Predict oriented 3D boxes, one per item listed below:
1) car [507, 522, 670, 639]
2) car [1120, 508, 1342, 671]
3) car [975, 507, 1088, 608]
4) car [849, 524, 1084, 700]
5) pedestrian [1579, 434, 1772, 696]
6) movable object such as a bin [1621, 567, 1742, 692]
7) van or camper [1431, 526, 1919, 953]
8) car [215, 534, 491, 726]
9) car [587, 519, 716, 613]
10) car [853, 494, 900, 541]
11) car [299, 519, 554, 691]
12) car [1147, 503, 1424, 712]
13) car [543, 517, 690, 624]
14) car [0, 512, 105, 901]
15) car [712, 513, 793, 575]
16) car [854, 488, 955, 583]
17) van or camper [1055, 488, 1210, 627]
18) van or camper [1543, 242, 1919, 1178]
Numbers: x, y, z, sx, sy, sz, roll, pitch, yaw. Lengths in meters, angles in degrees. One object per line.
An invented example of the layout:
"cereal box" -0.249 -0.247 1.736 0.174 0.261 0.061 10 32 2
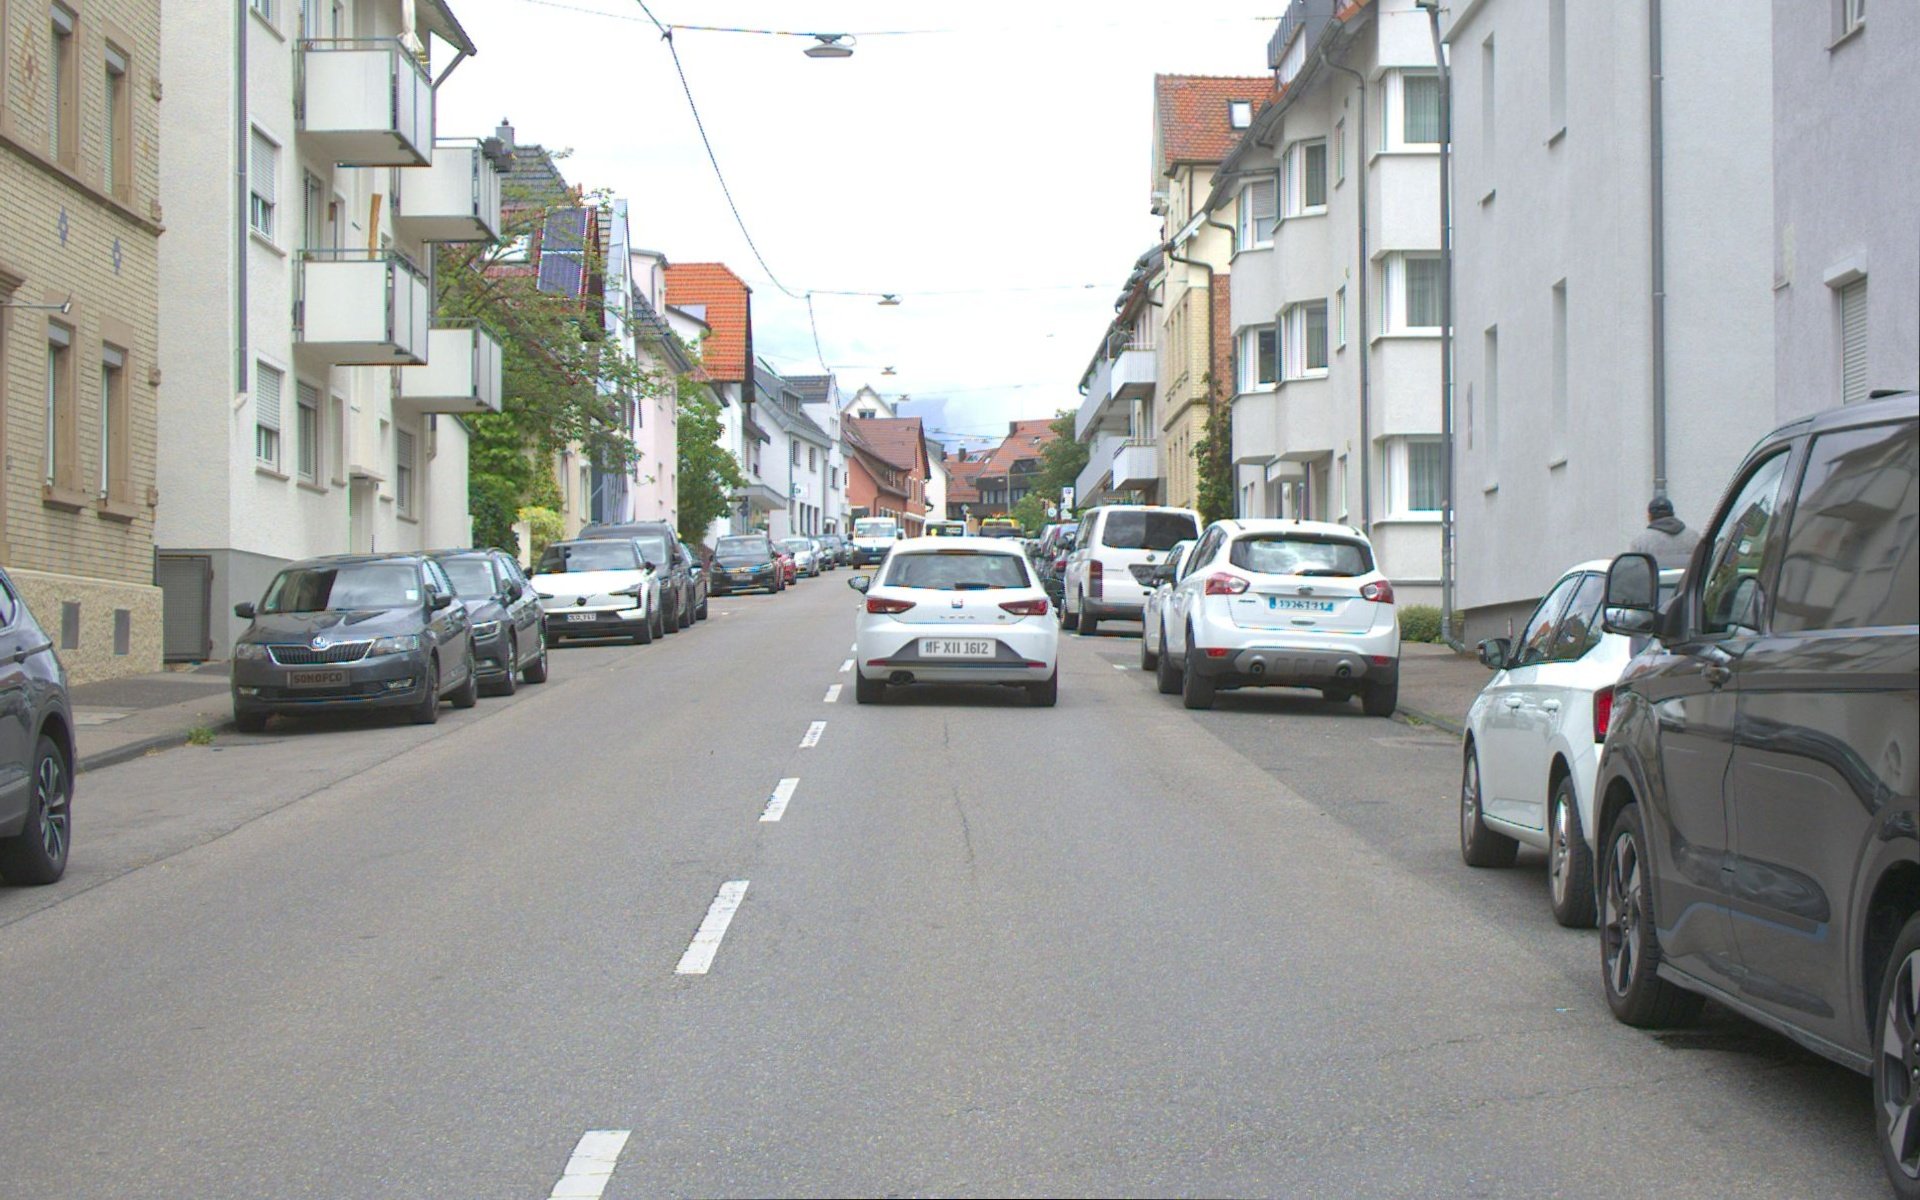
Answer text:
"car" -5.419 -0.326 50.637 1.993 1.645 4.000 0 1 0
"car" 2.926 -0.156 37.961 1.940 1.687 4.001 1 1 -3
"car" 1.425 -0.889 70.419 1.993 2.007 4.001 0 1 -3
"car" 0.028 0.056 30.652 1.940 1.434 4.000 1 1 -1
"pedestrian" 4.996 -0.257 24.114 0.976 1.733 1.533 -3 1 1
"movable object such as a bin" 6.333 0.244 30.235 0.888 1.058 1.216 0 1 4
"van or camper" 3.120 0.484 14.832 1.602 1.538 4.000 2 1 1
"car" -5.231 0.205 30.108 1.642 1.468 4.179 -3 1 0
"car" -5.531 -0.640 62.043 1.993 1.645 4.000 0 1 0
"car" -3.673 -3.653 152.109 1.993 2.007 4.000 0 1 0
"car" -5.344 0.000 34.946 1.993 1.645 4.000 0 1 0
"car" 2.868 0.013 31.109 1.940 1.687 4.001 2 1 -2
"car" -5.504 -0.506 55.487 1.993 1.645 4.000 0 1 0
"car" -5.090 0.512 14.207 1.993 1.645 4.554 -3 1 -1
"car" -5.655 -1.552 94.004 1.993 1.645 4.179 0 1 0
"car" -1.246 -1.432 76.487 2.152 2.007 4.000 1 1 -1
"van or camper" 2.618 -0.682 53.088 1.940 2.047 4.564 1 1 -3
"van or camper" 3.101 0.237 8.907 1.993 2.058 5.945 2 1 -1
